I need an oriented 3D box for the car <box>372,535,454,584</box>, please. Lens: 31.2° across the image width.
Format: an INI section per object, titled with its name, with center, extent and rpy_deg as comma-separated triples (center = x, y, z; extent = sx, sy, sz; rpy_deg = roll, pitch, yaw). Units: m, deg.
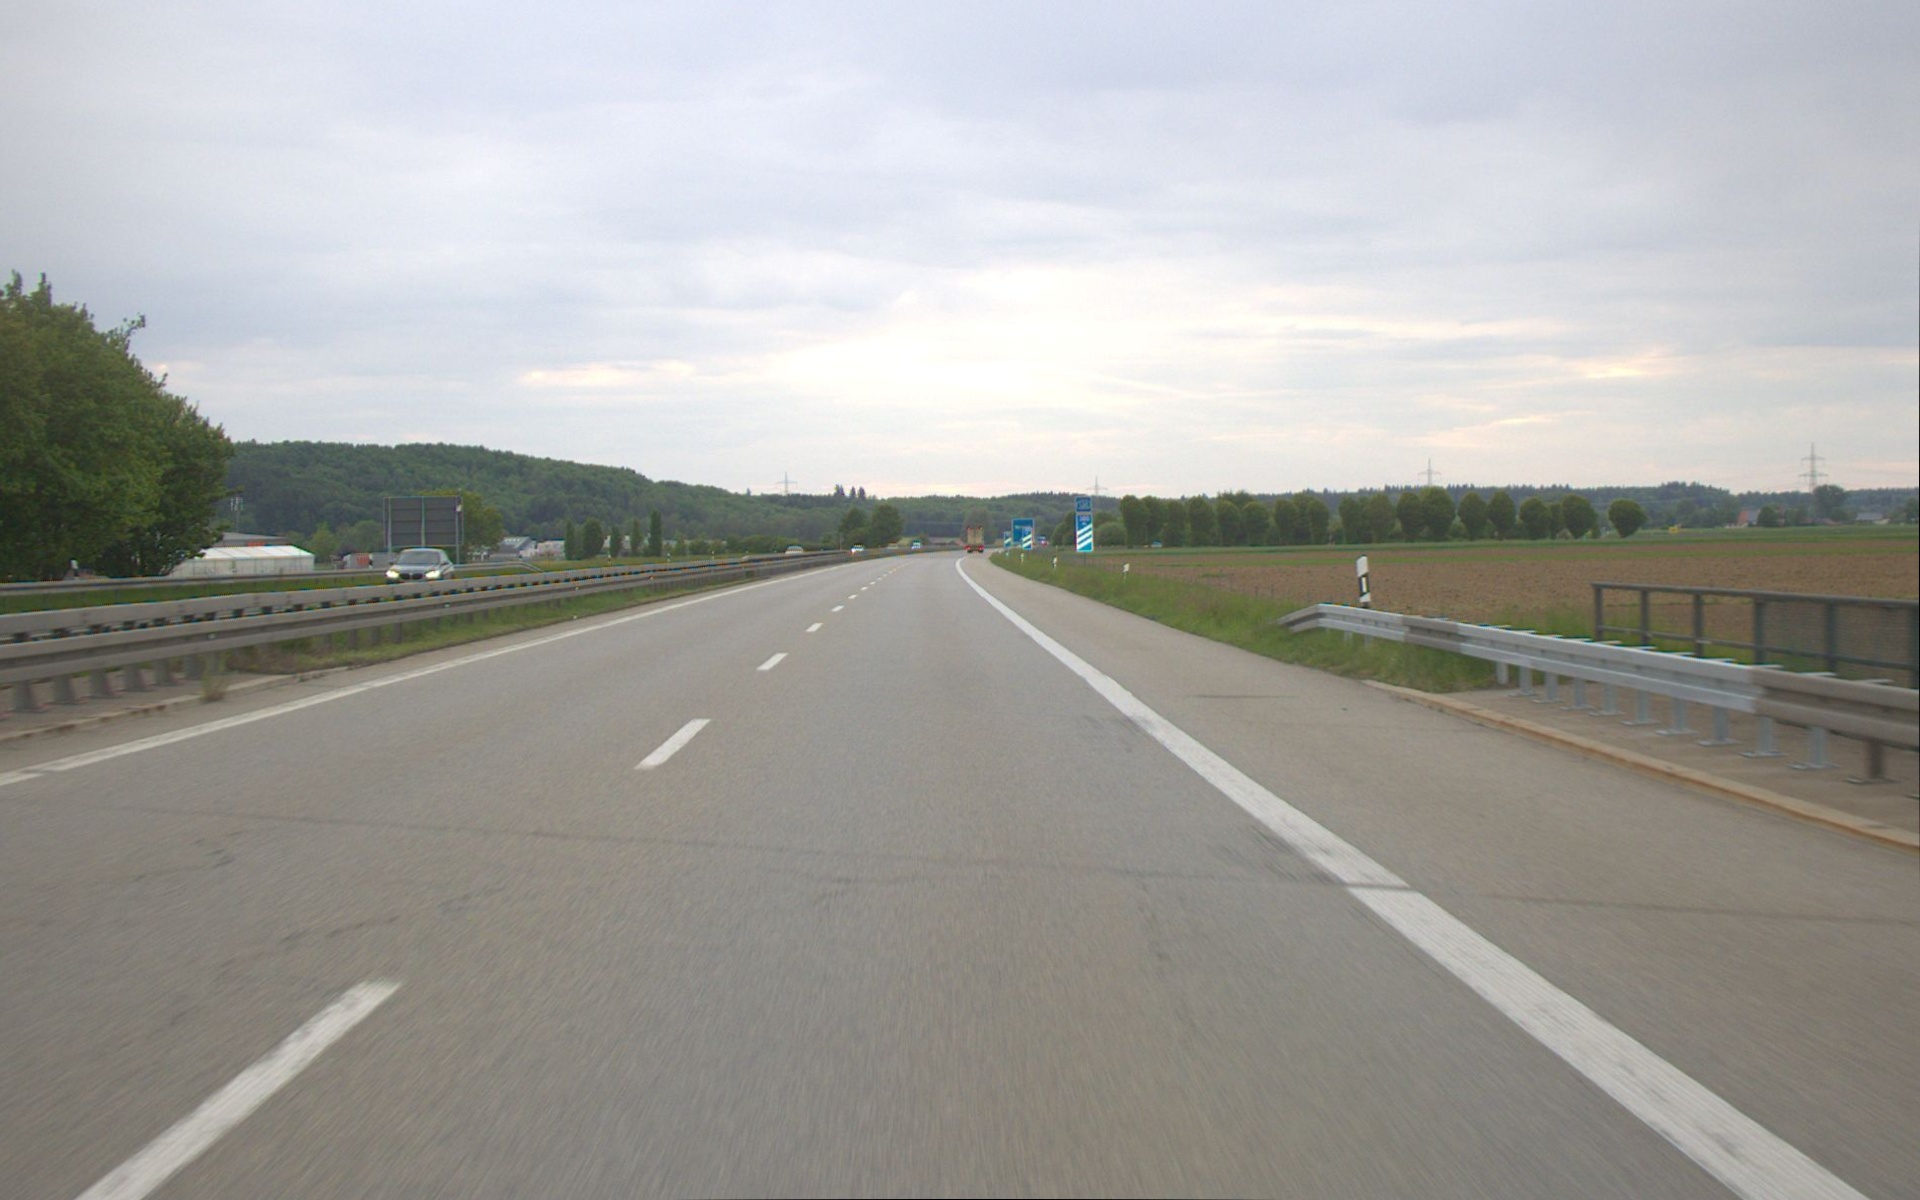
[car]
center = -18.423, -1.367, 115.978
extent = 1.993, 1.577, 4.809
rpy_deg = 1, 1, 0
